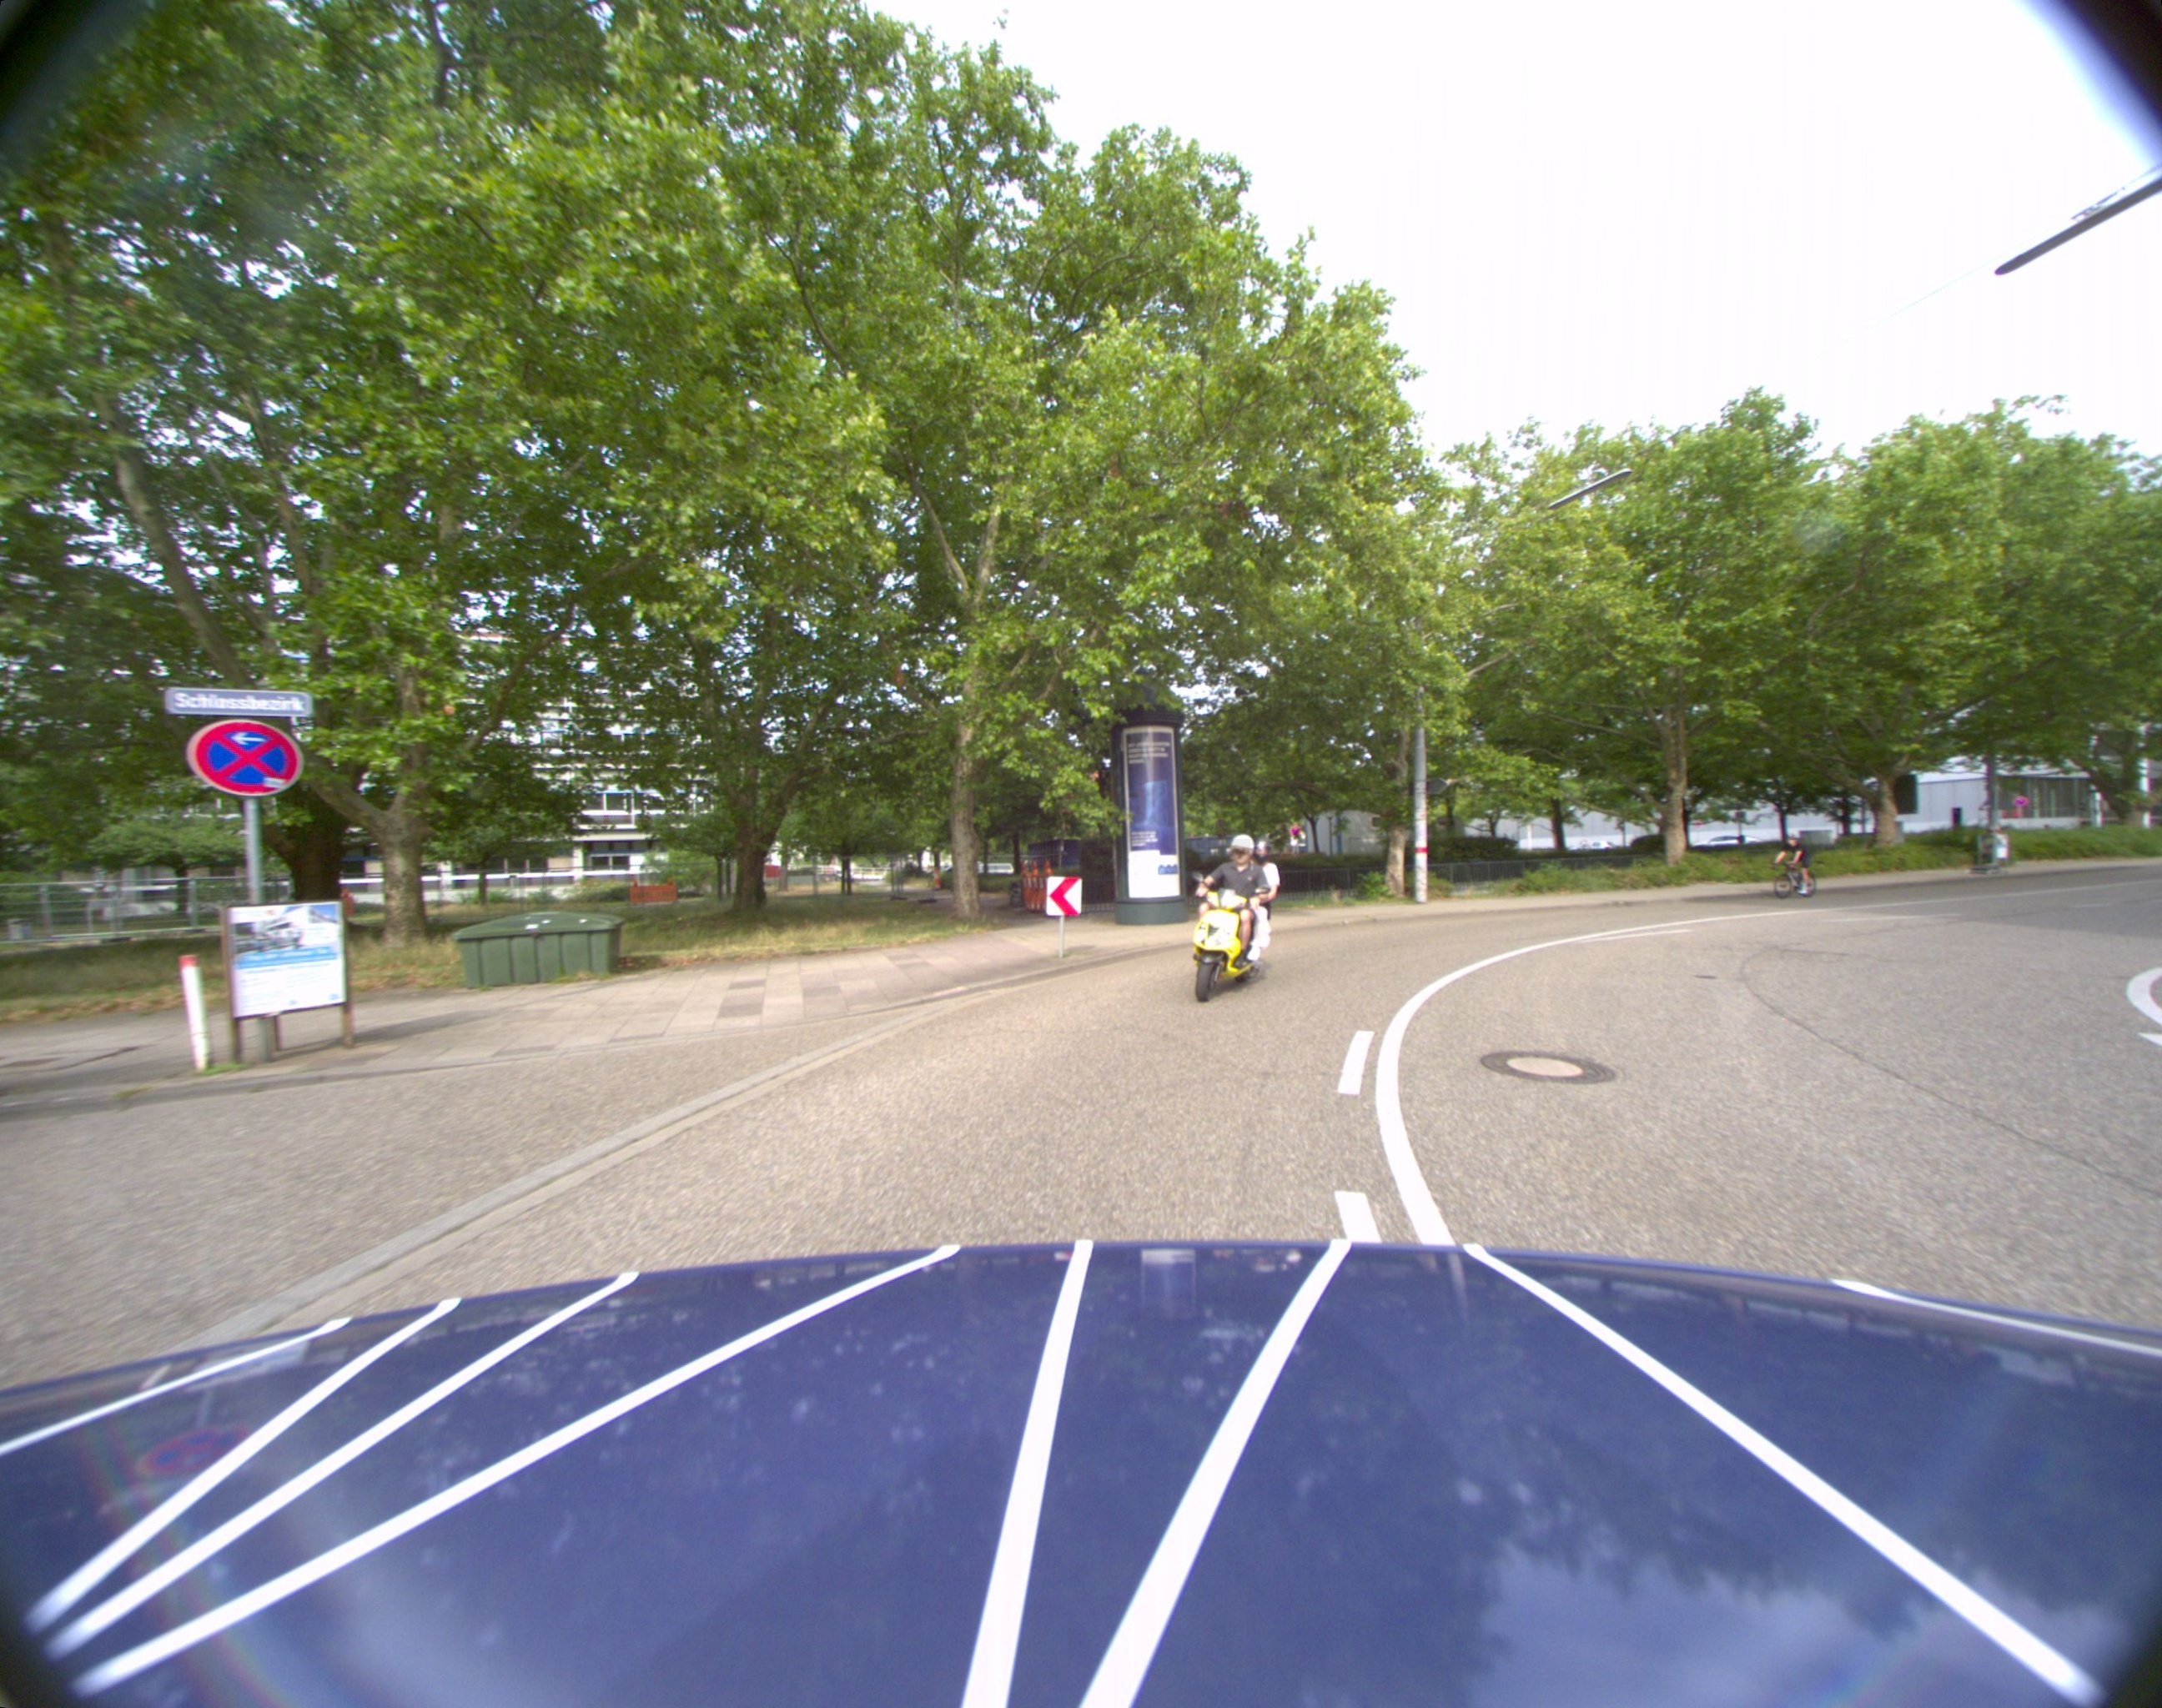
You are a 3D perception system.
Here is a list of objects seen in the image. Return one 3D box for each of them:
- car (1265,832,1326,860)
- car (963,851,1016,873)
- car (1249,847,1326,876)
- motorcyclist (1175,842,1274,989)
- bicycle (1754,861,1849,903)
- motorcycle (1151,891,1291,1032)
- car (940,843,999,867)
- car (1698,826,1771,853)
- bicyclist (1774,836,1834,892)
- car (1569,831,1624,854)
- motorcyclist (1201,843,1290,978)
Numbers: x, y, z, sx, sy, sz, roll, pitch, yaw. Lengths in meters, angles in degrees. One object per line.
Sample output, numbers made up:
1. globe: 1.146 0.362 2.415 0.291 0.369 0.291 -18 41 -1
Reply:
1. car: 21.686 -0.778 76.802 5.502 2.597 2.439 -2 -2 -23
2. car: -7.347 0.664 60.828 3.794 1.571 1.997 -2 -2 -24
3. car: 14.043 0.485 51.563 4.778 1.783 1.997 -2 -2 -24
4. motorcyclist: 1.494 0.599 7.865 0.780 1.419 0.765 0 1 31
5. bicycle: 19.092 0.736 20.128 2.409 1.009 0.770 -2 -1 -19
6. motorcycle: 1.517 1.019 7.898 0.780 1.171 1.996 0 0 31
7. car: -9.946 0.100 67.782 4.778 2.001 1.997 -2 -2 -24
8. car: 53.774 -1.168 62.568 2.002 2.001 3.993 -2 -2 -25
9. bicyclist: 19.182 0.273 20.172 0.915 1.438 0.784 -2 -1 -21
10. car: 50.910 -1.161 75.083 2.003 2.001 3.992 -1 -2 -30
11. motorcyclist: 1.838 0.593 8.472 0.780 1.419 0.690 0 1 31
